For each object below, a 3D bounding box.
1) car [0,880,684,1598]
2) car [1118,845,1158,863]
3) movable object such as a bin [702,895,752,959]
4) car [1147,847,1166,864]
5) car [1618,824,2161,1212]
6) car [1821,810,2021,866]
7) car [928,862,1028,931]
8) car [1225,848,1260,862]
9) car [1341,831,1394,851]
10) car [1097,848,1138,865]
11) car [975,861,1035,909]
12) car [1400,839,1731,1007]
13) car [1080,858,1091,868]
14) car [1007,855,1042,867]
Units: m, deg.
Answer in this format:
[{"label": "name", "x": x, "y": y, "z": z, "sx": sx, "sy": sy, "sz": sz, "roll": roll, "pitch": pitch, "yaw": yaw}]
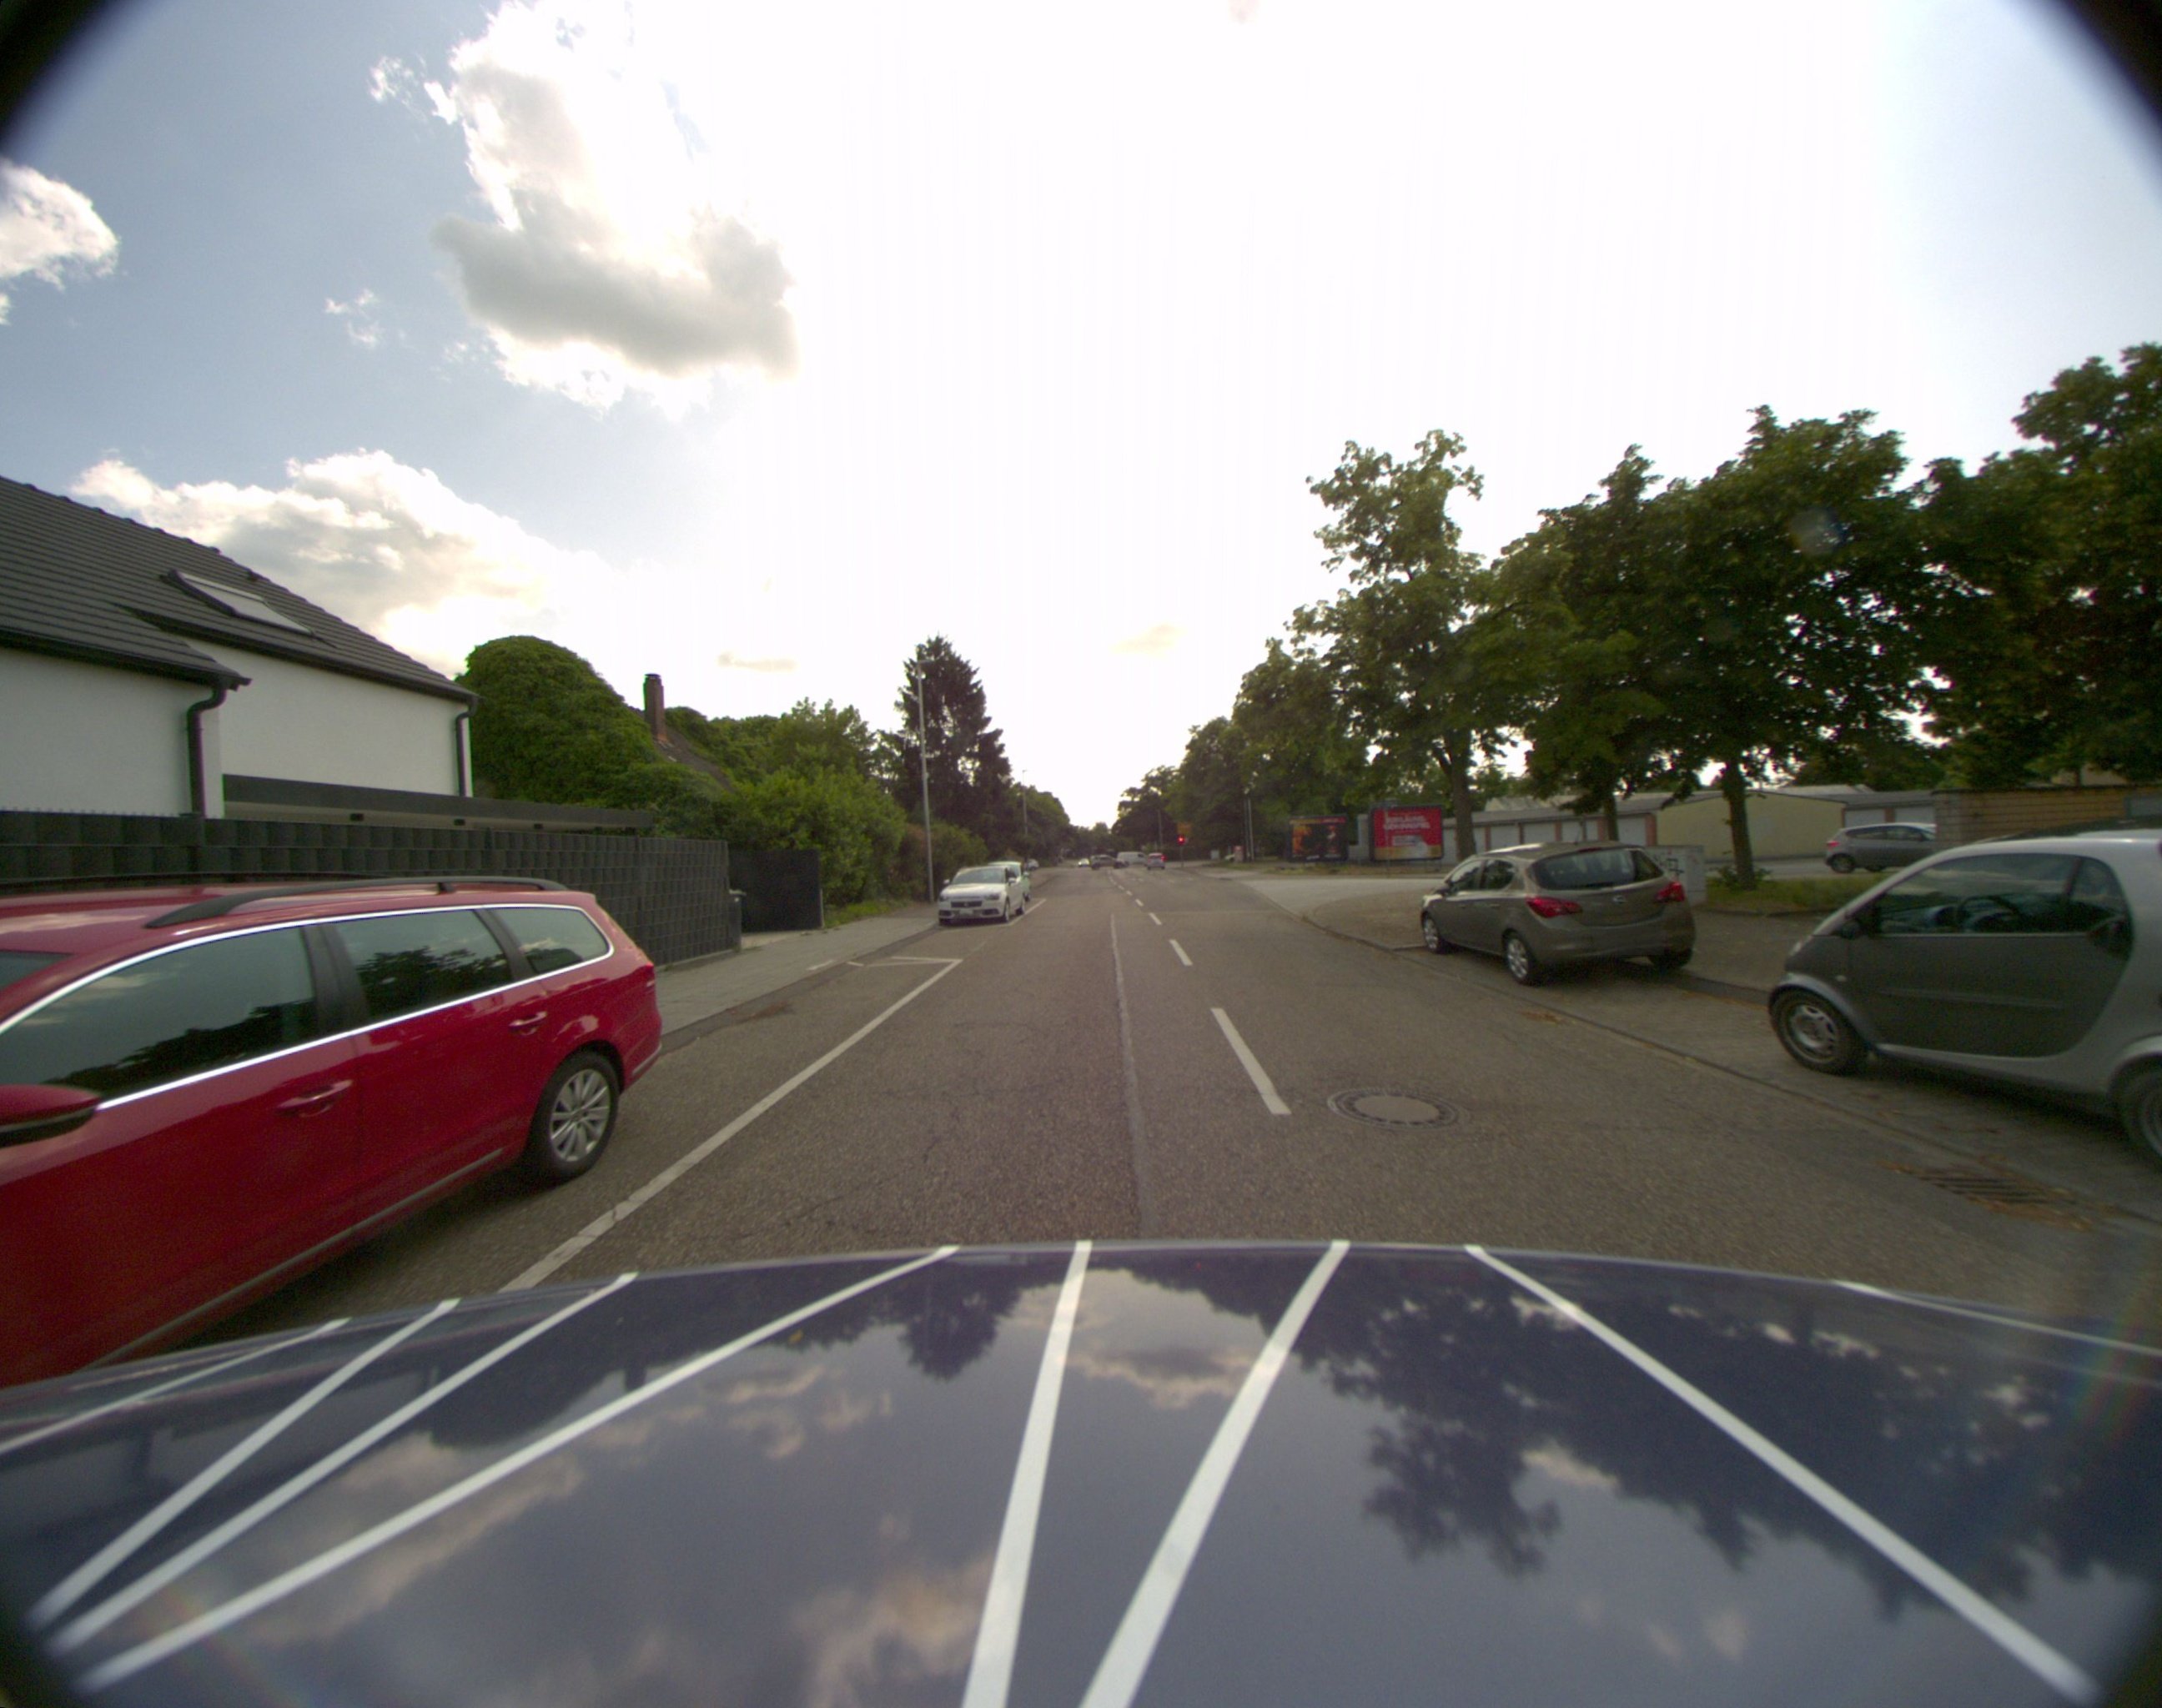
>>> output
[{"label": "car", "x": -3.470, "y": 0.992, "z": 2.310, "sx": 1.854, "sy": 1.570, "sz": 4.733, "roll": -2, "pitch": 0, "yaw": 2}, {"label": "car", "x": 7.110, "y": -0.015, "z": 95.033, "sx": 4.535, "sy": 1.941, "sz": 1.727, "roll": -3, "pitch": 1, "yaw": -9}, {"label": "movable object such as a bin", "x": -6.174, "y": 1.261, "z": 13.280, "sx": 0.517, "sy": 1.033, "sz": 0.630, "roll": -2, "pitch": 1, "yaw": 2}, {"label": "car", "x": 7.193, "y": 0.152, "z": 72.686, "sx": 1.558, "sy": 1.508, "sz": 3.609, "roll": -3, "pitch": 0, "yaw": 2}, {"label": "car", "x": 5.390, "y": 0.699, "z": 4.583, "sx": 1.521, "sy": 1.540, "sz": 3.756, "roll": -8, "pitch": 0, "yaw": 1}, {"label": "car", "x": 26.643, "y": -0.442, "z": 24.299, "sx": 1.653, "sy": 1.528, "sz": 3.897, "roll": -2, "pitch": -2, "yaw": -15}, {"label": "car", "x": -2.542, "y": 1.018, "z": 19.653, "sx": 1.725, "sy": 1.478, "sz": 3.750, "roll": -2, "pitch": 0, "yaw": 5}, {"label": "car", "x": 22.770, "y": 0.088, "z": 107.433, "sx": 4.532, "sy": 1.767, "sz": 1.728, "roll": -3, "pitch": 1, "yaw": 0}, {"label": "car", "x": 27.019, "y": -1.208, "z": 71.757, "sx": 2.156, "sy": 1.586, "sz": 4.556, "roll": -3, "pitch": 0, "yaw": -21}, {"label": "car", "x": 4.382, "y": 0.312, "z": 90.317, "sx": 4.535, "sy": 1.767, "sz": 1.727, "roll": -3, "pitch": 1, "yaw": -9}, {"label": "car", "x": -2.675, "y": 1.058, "z": 27.366, "sx": 1.585, "sy": 1.511, "sz": 3.756, "roll": -2, "pitch": 0, "yaw": 2}, {"label": "car", "x": 5.558, "y": 0.643, "z": 9.402, "sx": 1.687, "sy": 1.478, "sz": 3.984, "roll": -5, "pitch": 1, "yaw": 4}, {"label": "car", "x": 0.764, "y": 1.434, "z": 124.645, "sx": 1.730, "sy": 1.421, "sz": 3.998, "roll": -1, "pitch": 2, "yaw": 0}, {"label": "car", "x": -7.809, "y": 0.958, "z": 104.444, "sx": 4.536, "sy": 1.454, "sz": 1.727, "roll": -3, "pitch": 1, "yaw": -11}]
